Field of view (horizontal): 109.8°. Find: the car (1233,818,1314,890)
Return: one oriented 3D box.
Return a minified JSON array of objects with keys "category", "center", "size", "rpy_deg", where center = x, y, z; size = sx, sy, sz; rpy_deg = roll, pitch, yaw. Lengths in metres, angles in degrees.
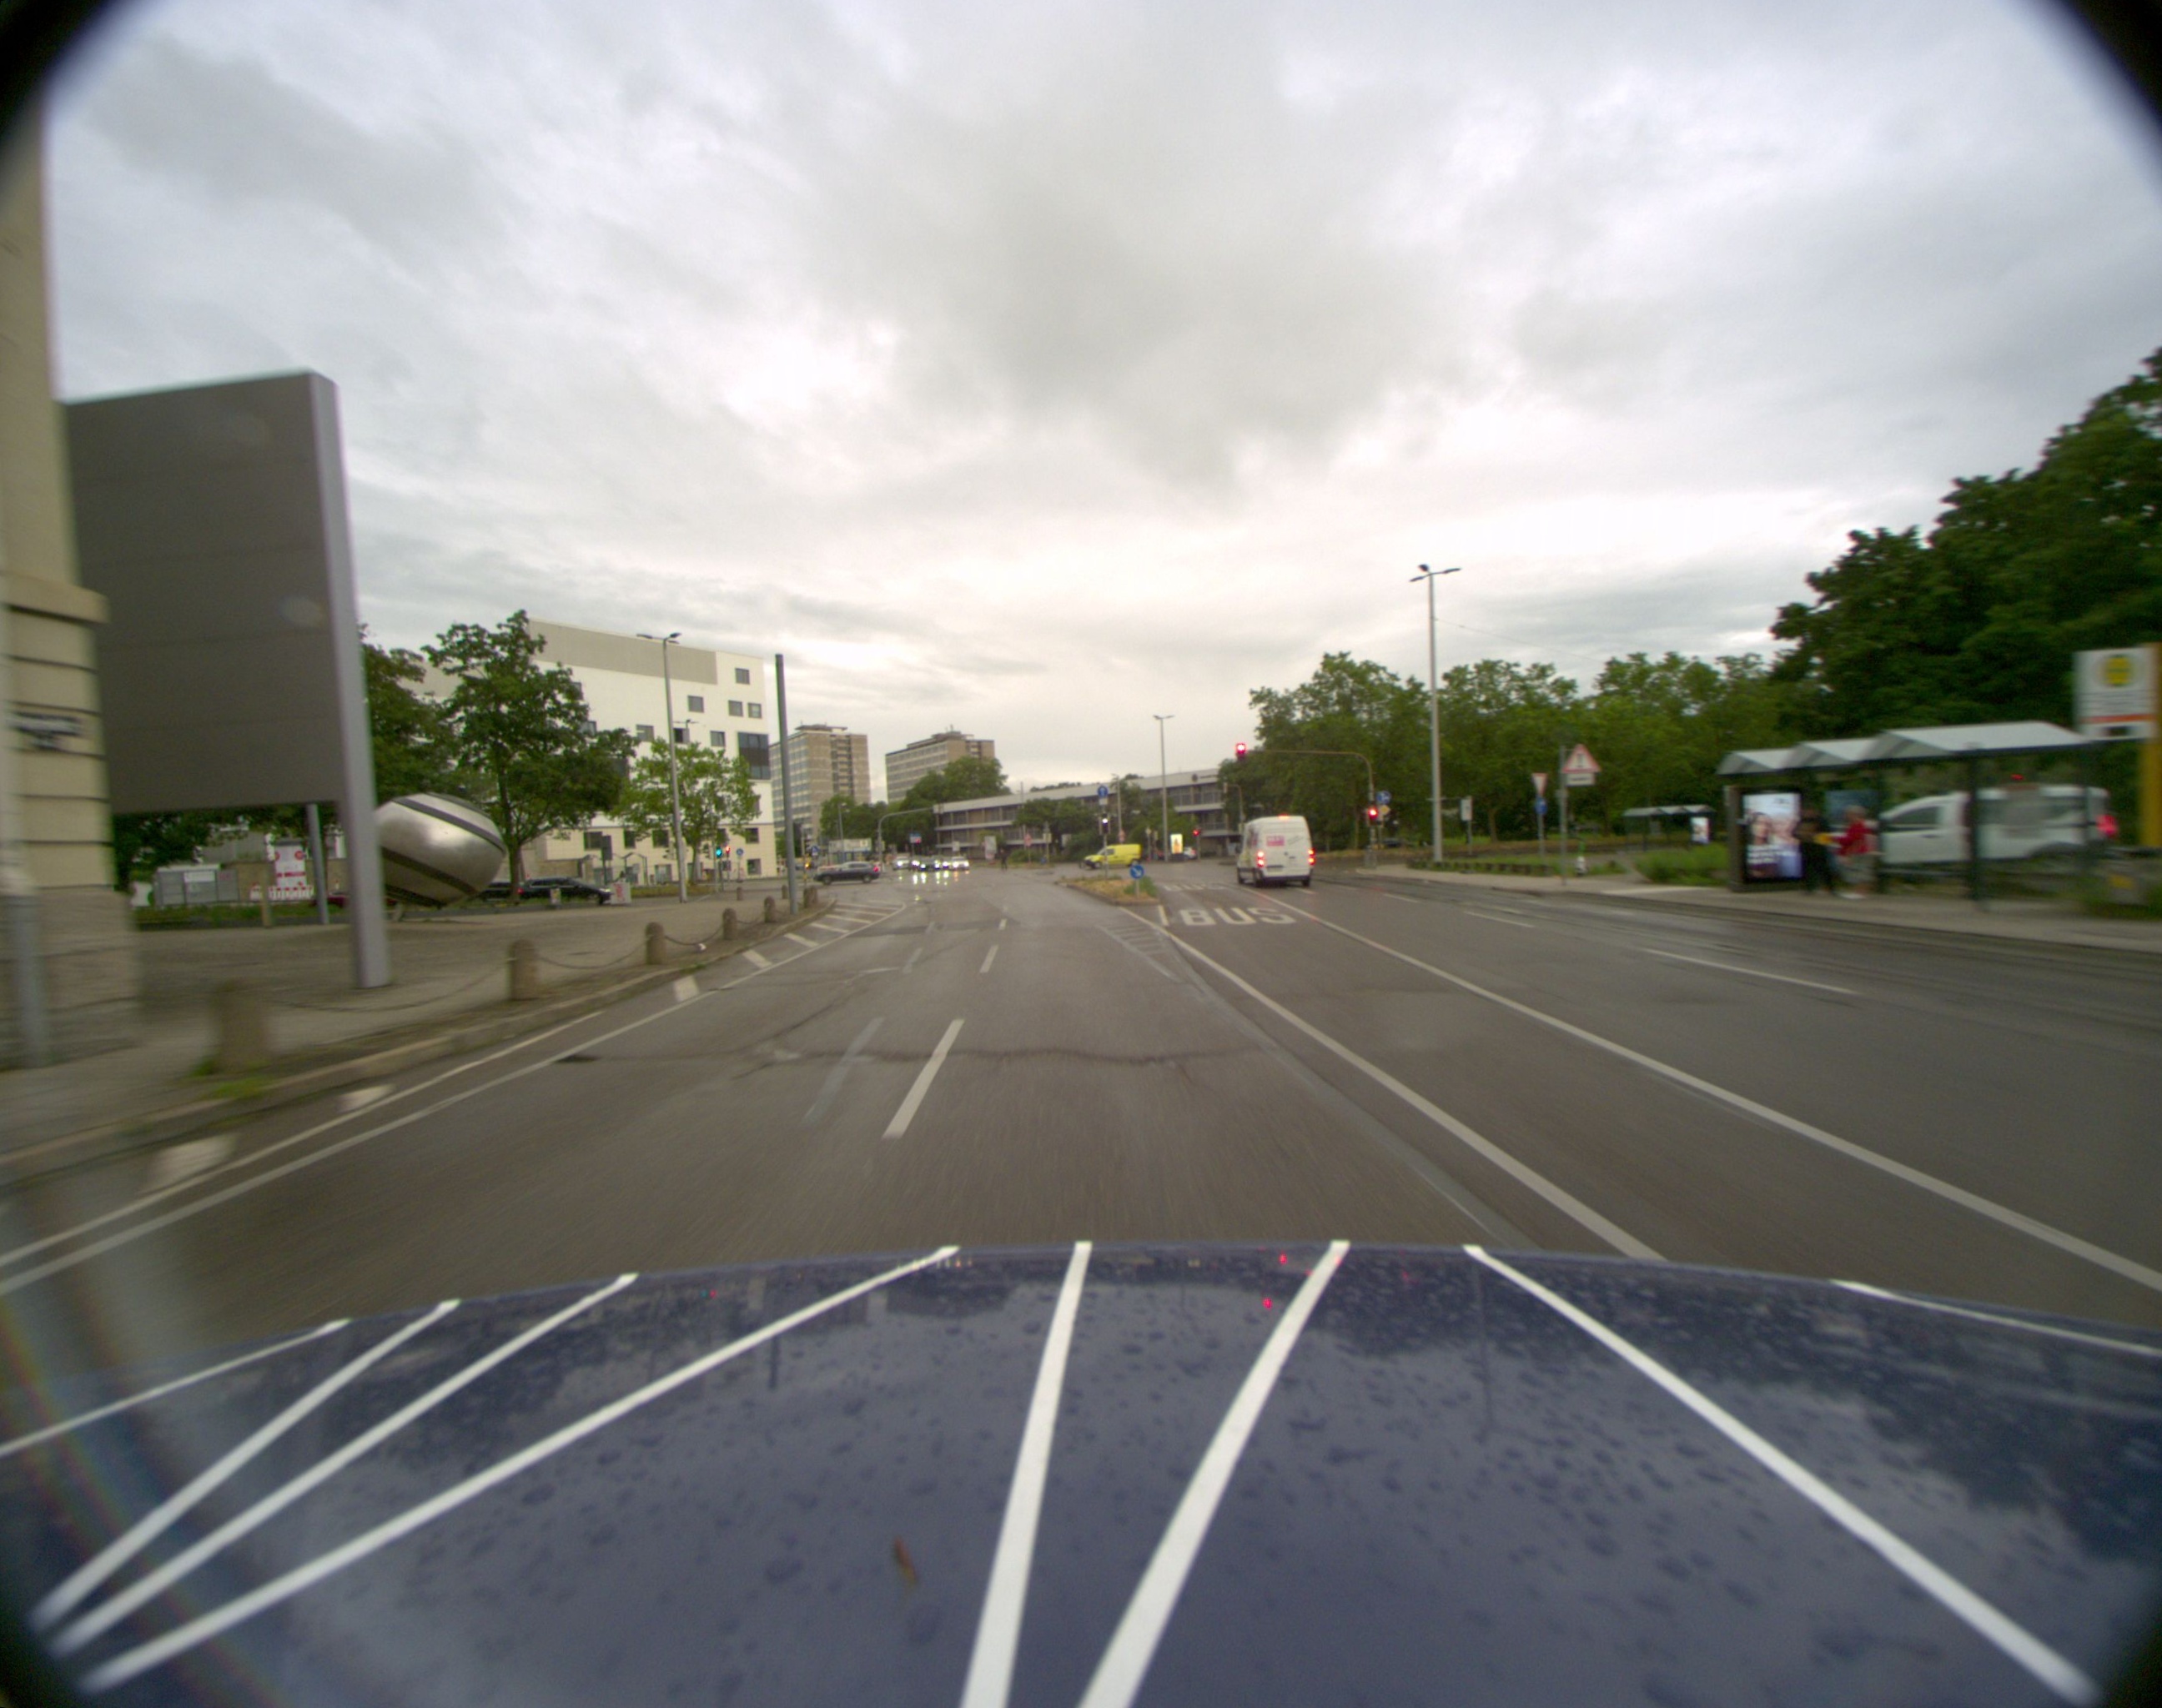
[{"category":"car","center":[7.458,-0.002,29.994],"size":[1.987,2.514,5.633],"rpy_deg":[-2,0,3]}]

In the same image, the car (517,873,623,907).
[{"category":"car","center":[-27.653,1.930,41.329],"size":[4.496,1.588,1.982],"rpy_deg":[-2,0,-25]}]

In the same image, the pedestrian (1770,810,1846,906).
[{"category":"pedestrian","center":[13.467,0.069,14.086],"size":[0.685,1.686,0.672],"rpy_deg":[-4,1,-3]}]

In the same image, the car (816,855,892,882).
[{"category":"car","center":[-17.220,1.073,57.722],"size":[5.298,1.790,2.045],"rpy_deg":[-2,0,-22]}]

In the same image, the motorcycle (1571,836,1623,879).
[{"category":"motorcycle","center":[15.684,0.088,23.127],"size":[0.516,1.240,1.266],"rpy_deg":[-4,1,-9]}]

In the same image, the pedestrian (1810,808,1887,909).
[{"category":"pedestrian","center":[13.386,0.068,13.273],"size":[0.629,1.686,0.643],"rpy_deg":[-4,1,-3]}]

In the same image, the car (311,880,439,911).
[{"category":"car","center":[-37.120,2.161,40.127],"size":[4.618,1.358,1.776],"rpy_deg":[-2,0,-28]}]

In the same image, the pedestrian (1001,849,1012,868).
[{"category":"pedestrian","center":[-7.029,0.422,71.895],"size":[0.903,1.786,0.541],"rpy_deg":[-4,1,0]}]

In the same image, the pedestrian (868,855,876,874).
[{"category":"pedestrian","center":[-21.825,1.075,79.312],"size":[0.644,2.002,0.594],"rpy_deg":[-3,1,-19]}]

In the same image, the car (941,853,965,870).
[{"category":"car","center":[-14.472,0.802,85.470],"size":[2.078,1.816,4.556],"rpy_deg":[-2,0,-16]}]

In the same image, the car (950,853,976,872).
[{"category":"car","center":[-12.438,0.860,79.618],"size":[2.078,1.900,4.556],"rpy_deg":[-2,0,-16]}]

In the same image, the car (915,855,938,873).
[{"category":"car","center":[-17.477,1.153,85.757],"size":[2.078,1.900,4.556],"rpy_deg":[-2,0,-16]}]

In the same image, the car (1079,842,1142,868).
[{"category":"car","center":[2.443,0.086,63.236],"size":[4.825,1.996,2.121],"rpy_deg":[-2,0,-12]}]

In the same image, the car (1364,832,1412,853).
[{"category":"car","center":[30.916,-1.116,76.614],"size":[4.338,1.900,2.080],"rpy_deg":[-2,0,17]}]

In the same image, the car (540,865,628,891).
[{"category":"car","center":[-33.680,1.582,51.692],"size":[4.847,1.524,2.092],"rpy_deg":[-2,0,-31]}]

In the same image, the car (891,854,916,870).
[{"category":"car","center":[-22.623,0.992,96.826],"size":[2.080,1.900,4.553],"rpy_deg":[-2,0,-25]}]

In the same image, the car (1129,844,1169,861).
[{"category":"car","center":[7.316,-0.146,81.765],"size":[3.833,1.664,1.931],"rpy_deg":[-2,0,21]}]

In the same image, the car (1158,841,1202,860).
[{"category":"car","center":[10.878,-0.426,83.346],"size":[4.337,1.900,2.080],"rpy_deg":[-2,0,21]}]

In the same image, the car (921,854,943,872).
[{"category":"car","center":[-15.583,0.928,79.336],"size":[1.885,1.857,4.341],"rpy_deg":[-2,0,-16]}]

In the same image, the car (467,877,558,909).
[{"category":"car","center":[-31.677,2.149,42.486],"size":[3.745,1.573,1.756],"rpy_deg":[-2,0,-25]}]

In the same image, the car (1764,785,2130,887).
[{"category":"car","center":[17.385,-0.303,15.654],"size":[2.019,1.745,4.711],"rpy_deg":[-5,1,-43]}]
